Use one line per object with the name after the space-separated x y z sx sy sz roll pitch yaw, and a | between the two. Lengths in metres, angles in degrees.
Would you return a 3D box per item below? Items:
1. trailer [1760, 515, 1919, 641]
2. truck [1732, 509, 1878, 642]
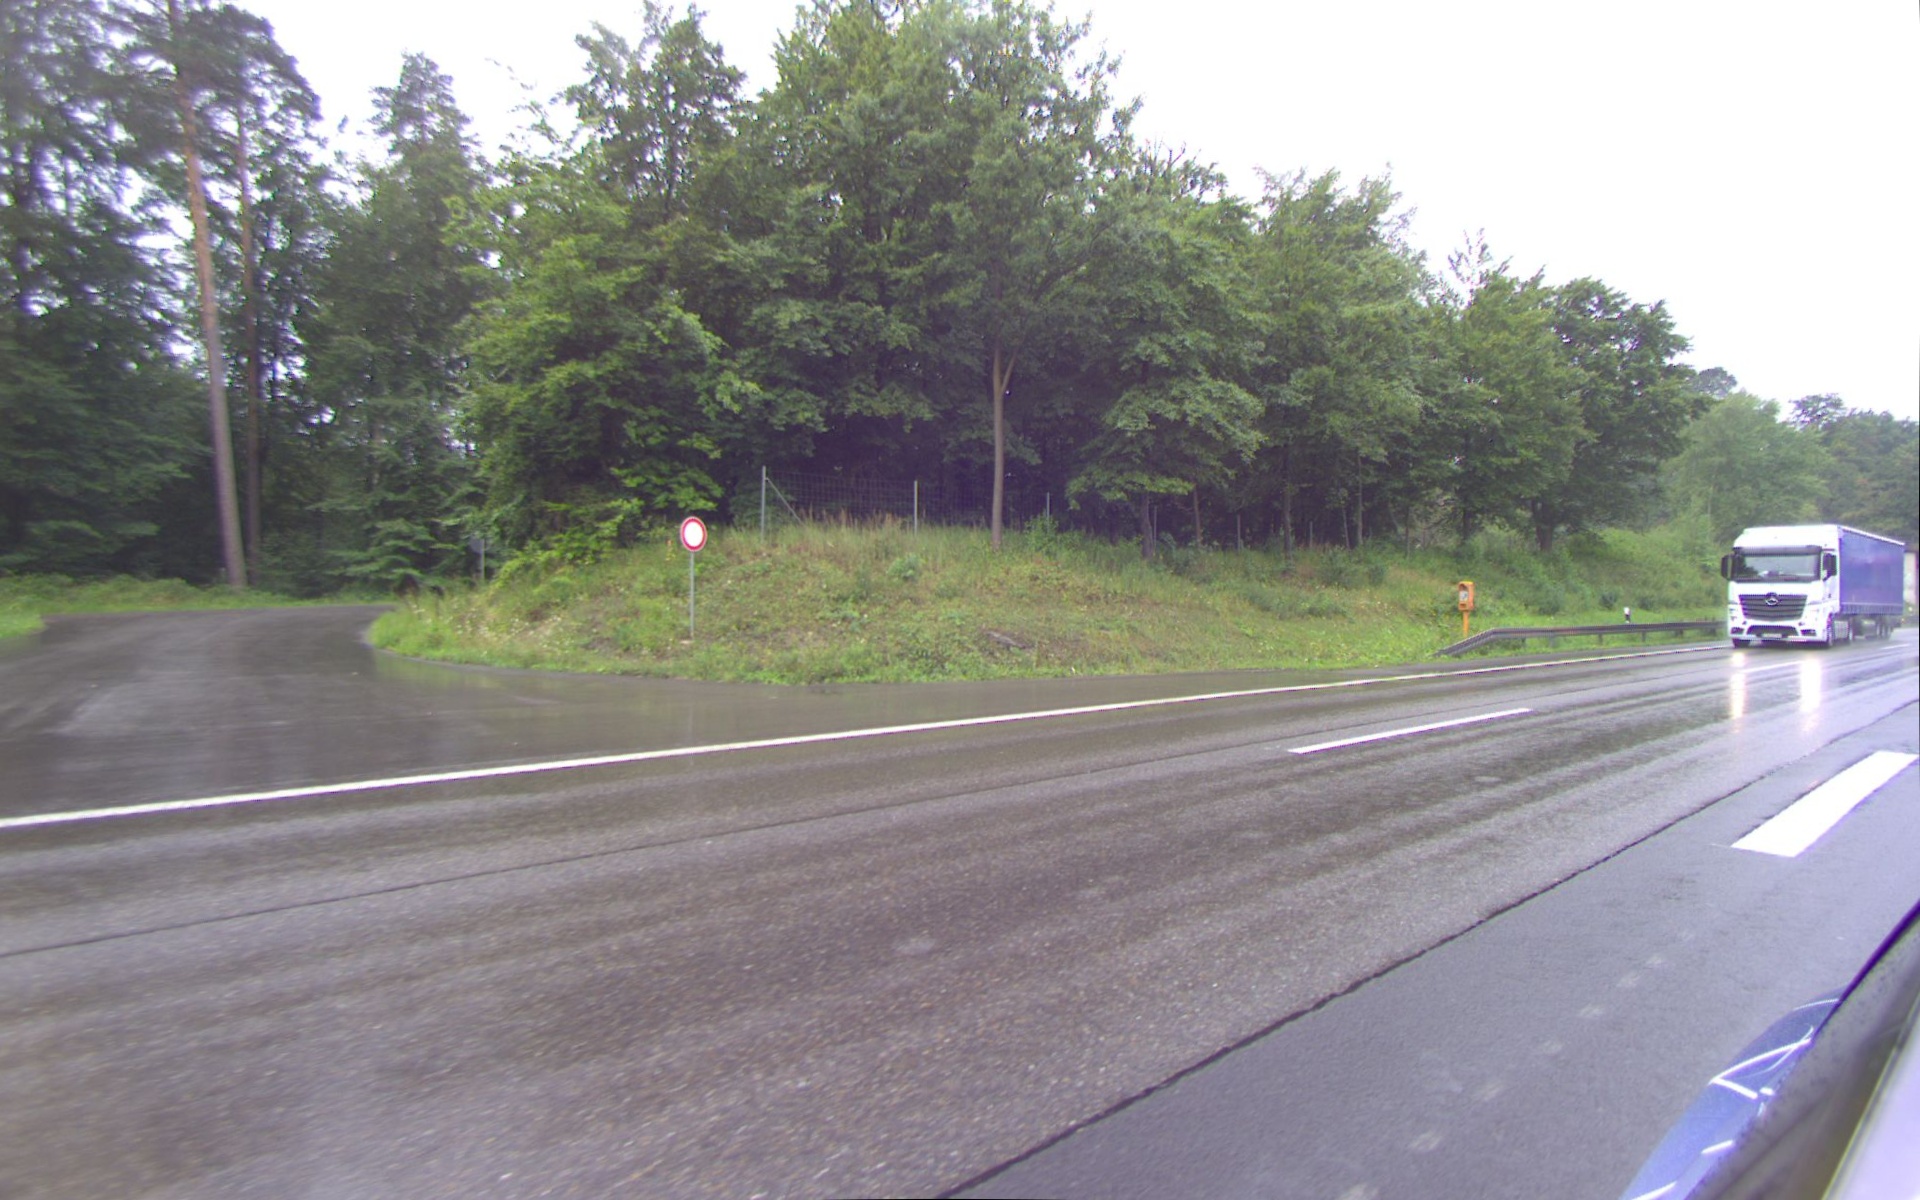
33.425 -0.767 38.068 13.471 4.064 2.558 0 0 -40 | trailer
28.327 -0.751 33.859 5.905 4.065 2.607 0 -1 -39 | truck
